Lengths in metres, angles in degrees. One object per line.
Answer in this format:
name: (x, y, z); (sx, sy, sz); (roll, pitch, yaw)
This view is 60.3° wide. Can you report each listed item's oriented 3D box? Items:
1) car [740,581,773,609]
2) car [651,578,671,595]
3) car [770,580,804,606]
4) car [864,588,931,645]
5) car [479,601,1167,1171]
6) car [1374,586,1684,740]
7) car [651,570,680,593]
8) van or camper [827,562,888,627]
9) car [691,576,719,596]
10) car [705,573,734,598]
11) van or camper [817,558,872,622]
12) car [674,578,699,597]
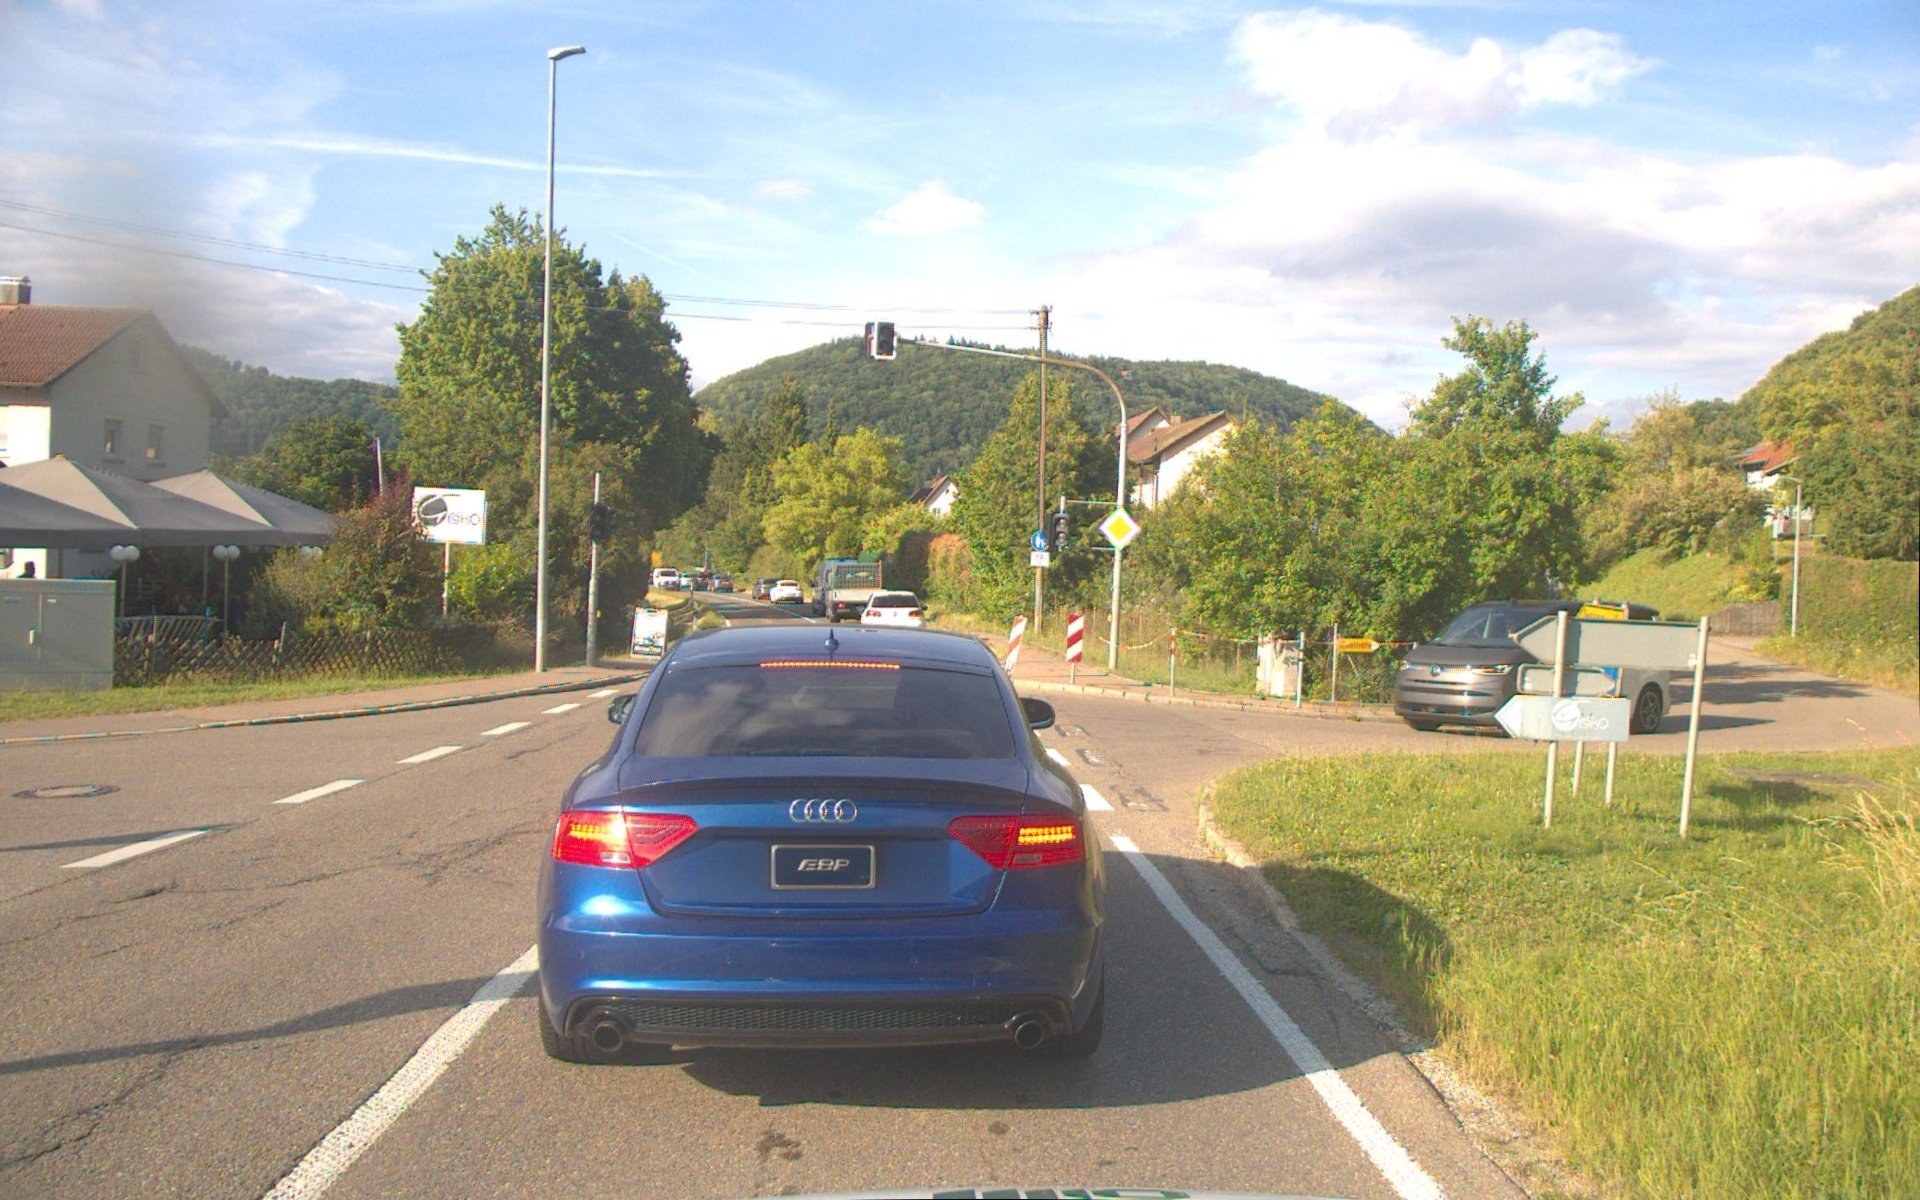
car: (-13.981, -0.360, 113.468); (1.766, 1.825, 3.986); (0, 1, -14)
car: (-31.421, -1.410, 173.763); (1.743, 1.814, 3.983); (0, 1, -16)
car: (-10.738, -0.444, 102.224); (1.787, 1.579, 3.990); (0, 1, -10)
car: (-1.734, 0.421, 46.041); (1.736, 1.439, 4.172); (2, 0, -2)
car: (-0.436, 0.744, 6.452); (1.793, 1.433, 4.224); (0, 0, -2)
car: (8.227, 0.864, 23.705); (4.825, 1.909, 1.972); (2, 1, -40)
car: (-25.638, -1.635, 143.966); (1.961, 1.937, 5.231); (-1, 1, -16)
van or camper: (-4.114, -0.248, 65.633); (2.138, 2.426, 5.362); (0, 1, -7)
car: (-22.813, -1.252, 147.633); (2.007, 1.713, 3.983); (0, 0, -16)
car: (-20.236, -1.210, 138.874); (1.960, 2.049, 3.985); (0, 1, -15)
van or camper: (-5.599, -0.500, 79.613); (2.369, 2.955, 6.123); (0, 1, -7)
car: (-25.845, -1.156, 155.985); (1.910, 1.713, 3.983); (0, 0, -16)
